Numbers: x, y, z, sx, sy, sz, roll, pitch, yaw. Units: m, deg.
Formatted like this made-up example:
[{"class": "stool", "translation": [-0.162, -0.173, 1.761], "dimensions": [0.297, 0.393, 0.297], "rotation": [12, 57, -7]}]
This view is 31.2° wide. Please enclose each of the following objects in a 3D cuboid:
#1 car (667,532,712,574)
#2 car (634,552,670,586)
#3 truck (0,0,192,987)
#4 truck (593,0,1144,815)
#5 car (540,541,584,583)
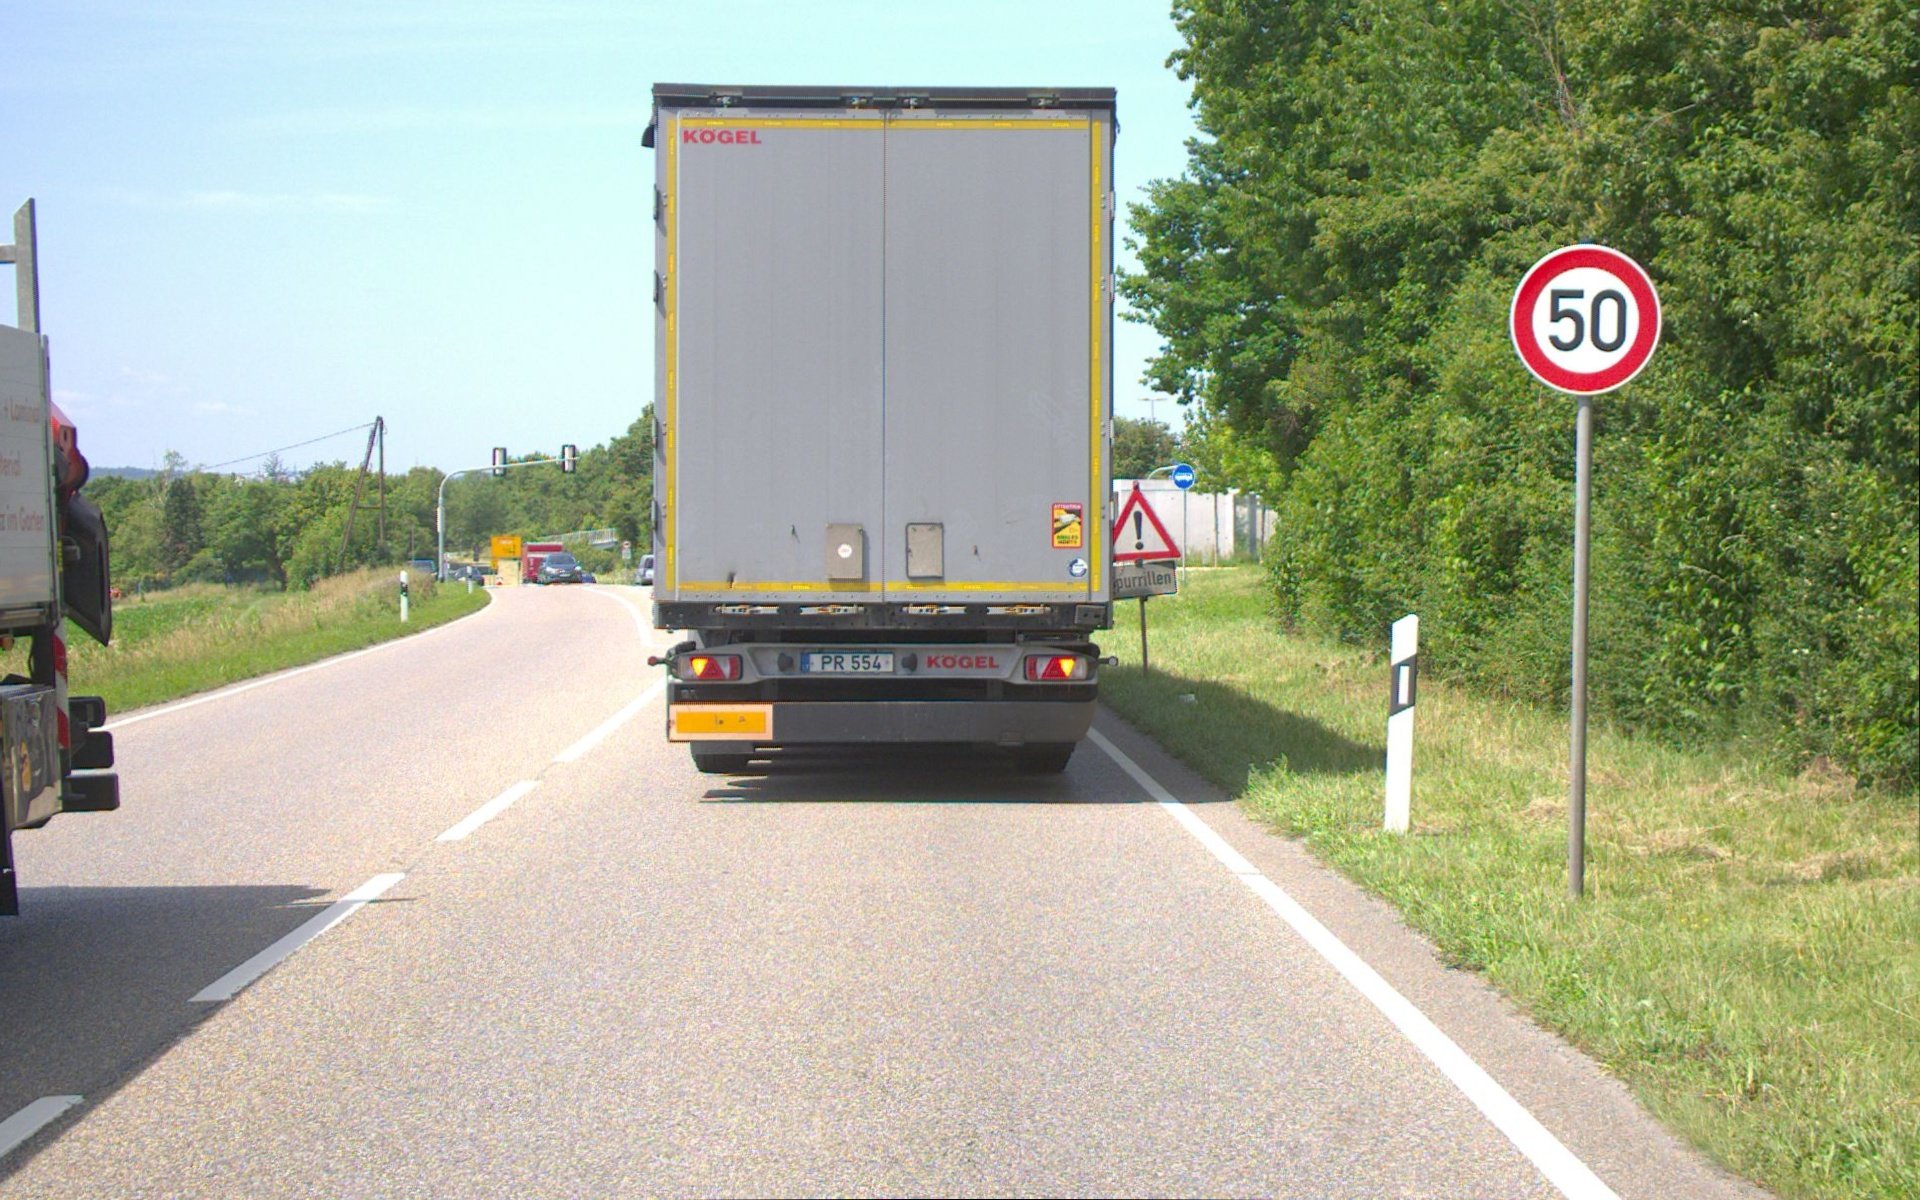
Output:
[{"class": "car", "translation": [-13.635, -2.356, 173.109], "dimensions": [2.171, 2.007, 4.527], "rotation": [-2, 1, -5]}, {"class": "car", "translation": [-17.113, -1.718, 191.203], "dimensions": [1.892, 1.771, 4.387], "rotation": [-2, 1, -5]}, {"class": "truck", "translation": [-4.583, -0.389, 9.120], "dimensions": [2.756, 3.564, 11.066], "rotation": [-2, 1, -2]}, {"class": "truck", "translation": [-0.678, -1.150, 22.873], "dimensions": [2.907, 4.394, 8.861], "rotation": [1, 1, -2]}, {"class": "car", "translation": [-19.401, -1.852, 167.792], "dimensions": [1.993, 1.943, 4.503], "rotation": [-3, 1, -6]}]
